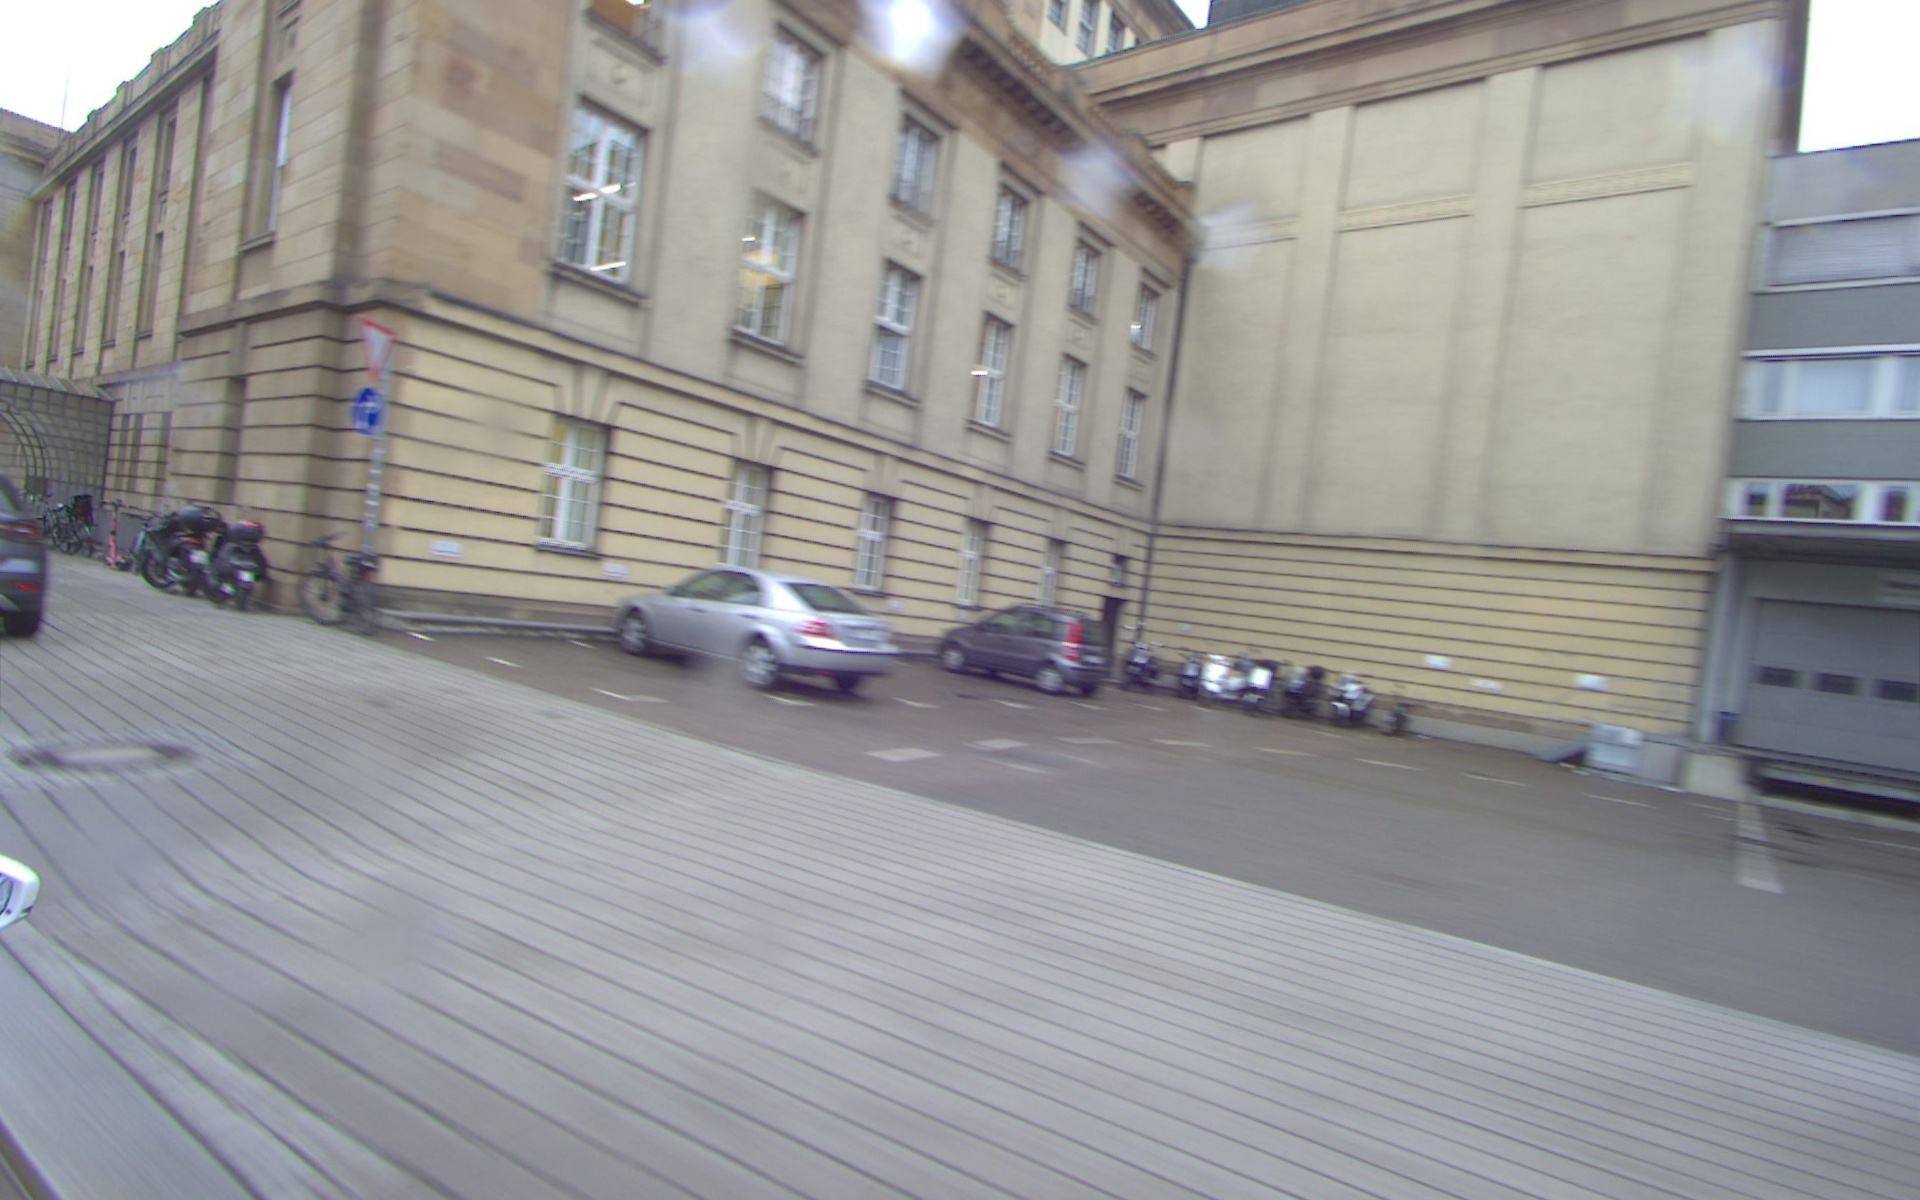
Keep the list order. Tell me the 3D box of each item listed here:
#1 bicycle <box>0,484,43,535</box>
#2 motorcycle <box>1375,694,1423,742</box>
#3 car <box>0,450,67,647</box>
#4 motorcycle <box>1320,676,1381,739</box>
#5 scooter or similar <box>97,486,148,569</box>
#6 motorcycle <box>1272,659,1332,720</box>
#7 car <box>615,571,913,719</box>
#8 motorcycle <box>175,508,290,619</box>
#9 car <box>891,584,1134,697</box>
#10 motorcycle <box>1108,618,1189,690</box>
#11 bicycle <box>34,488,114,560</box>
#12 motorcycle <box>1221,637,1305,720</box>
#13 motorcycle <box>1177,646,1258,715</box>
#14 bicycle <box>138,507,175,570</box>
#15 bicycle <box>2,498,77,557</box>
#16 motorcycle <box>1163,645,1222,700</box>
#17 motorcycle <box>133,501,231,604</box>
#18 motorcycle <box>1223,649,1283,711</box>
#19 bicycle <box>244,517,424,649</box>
[{"bbox_3d":[-22.323,-2.156,23.860,1.734,1.050,0.583,7,0,41],"label":"bicycle"},{"bbox_3d":[10.615,2.844,24.310,0.473,1.083,1.658,8,1,41],"label":"motorcycle"},{"bbox_3d":[-10.099,-0.709,9.299,4.337,1.639,1.871,8,1,37],"label":"car"},{"bbox_3d":[9.576,2.628,24.639,0.725,1.384,1.658,8,1,41],"label":"motorcycle"},{"bbox_3d":[-15.590,-1.352,18.715,1.250,1.434,0.412,7,0,42],"label":"scooter or similar"},{"bbox_3d":[8.690,2.276,25.538,0.725,1.424,1.658,8,1,41],"label":"motorcycle"},{"bbox_3d":[-2.748,0.559,13.621,4.065,1.428,1.521,7,0,37],"label":"car"},{"bbox_3d":[-9.990,-0.513,13.791,1.774,1.314,0.806,7,0,42],"label":"motorcycle"},{"bbox_3d":[0.953,0.770,19.834,4.440,1.559,1.817,8,1,38],"label":"car"},{"bbox_3d":[4.377,1.271,23.295,0.874,1.491,1.969,8,1,39],"label":"motorcycle"},{"bbox_3d":[-18.529,-1.593,21.030,1.730,1.284,0.731,7,1,33],"label":"bicycle"},{"bbox_3d":[6.492,1.697,21.473,0.837,1.563,1.971,10,0,39],"label":"motorcycle"},{"bbox_3d":[5.695,1.783,22.154,0.837,1.209,1.974,8,-4,39],"label":"motorcycle"},{"bbox_3d":[-14.746,-1.146,18.454,0.417,1.062,1.752,8,-1,-39],"label":"bicycle"},{"bbox_3d":[-20.143,-1.589,22.005,1.712,1.064,0.713,7,0,33],"label":"bicycle"},{"bbox_3d":[6.308,1.967,27.259,0.725,1.355,1.658,7,1,41],"label":"motorcycle"},{"bbox_3d":[-11.708,-0.734,15.106,2.105,1.341,0.666,7,0,42],"label":"motorcycle"},{"bbox_3d":[7.647,2.103,26.210,0.725,1.492,1.658,8,1,41],"label":"motorcycle"},{"bbox_3d":[-7.685,-0.210,12.335,1.829,1.333,1.103,7,-1,34],"label":"bicycle"}]
